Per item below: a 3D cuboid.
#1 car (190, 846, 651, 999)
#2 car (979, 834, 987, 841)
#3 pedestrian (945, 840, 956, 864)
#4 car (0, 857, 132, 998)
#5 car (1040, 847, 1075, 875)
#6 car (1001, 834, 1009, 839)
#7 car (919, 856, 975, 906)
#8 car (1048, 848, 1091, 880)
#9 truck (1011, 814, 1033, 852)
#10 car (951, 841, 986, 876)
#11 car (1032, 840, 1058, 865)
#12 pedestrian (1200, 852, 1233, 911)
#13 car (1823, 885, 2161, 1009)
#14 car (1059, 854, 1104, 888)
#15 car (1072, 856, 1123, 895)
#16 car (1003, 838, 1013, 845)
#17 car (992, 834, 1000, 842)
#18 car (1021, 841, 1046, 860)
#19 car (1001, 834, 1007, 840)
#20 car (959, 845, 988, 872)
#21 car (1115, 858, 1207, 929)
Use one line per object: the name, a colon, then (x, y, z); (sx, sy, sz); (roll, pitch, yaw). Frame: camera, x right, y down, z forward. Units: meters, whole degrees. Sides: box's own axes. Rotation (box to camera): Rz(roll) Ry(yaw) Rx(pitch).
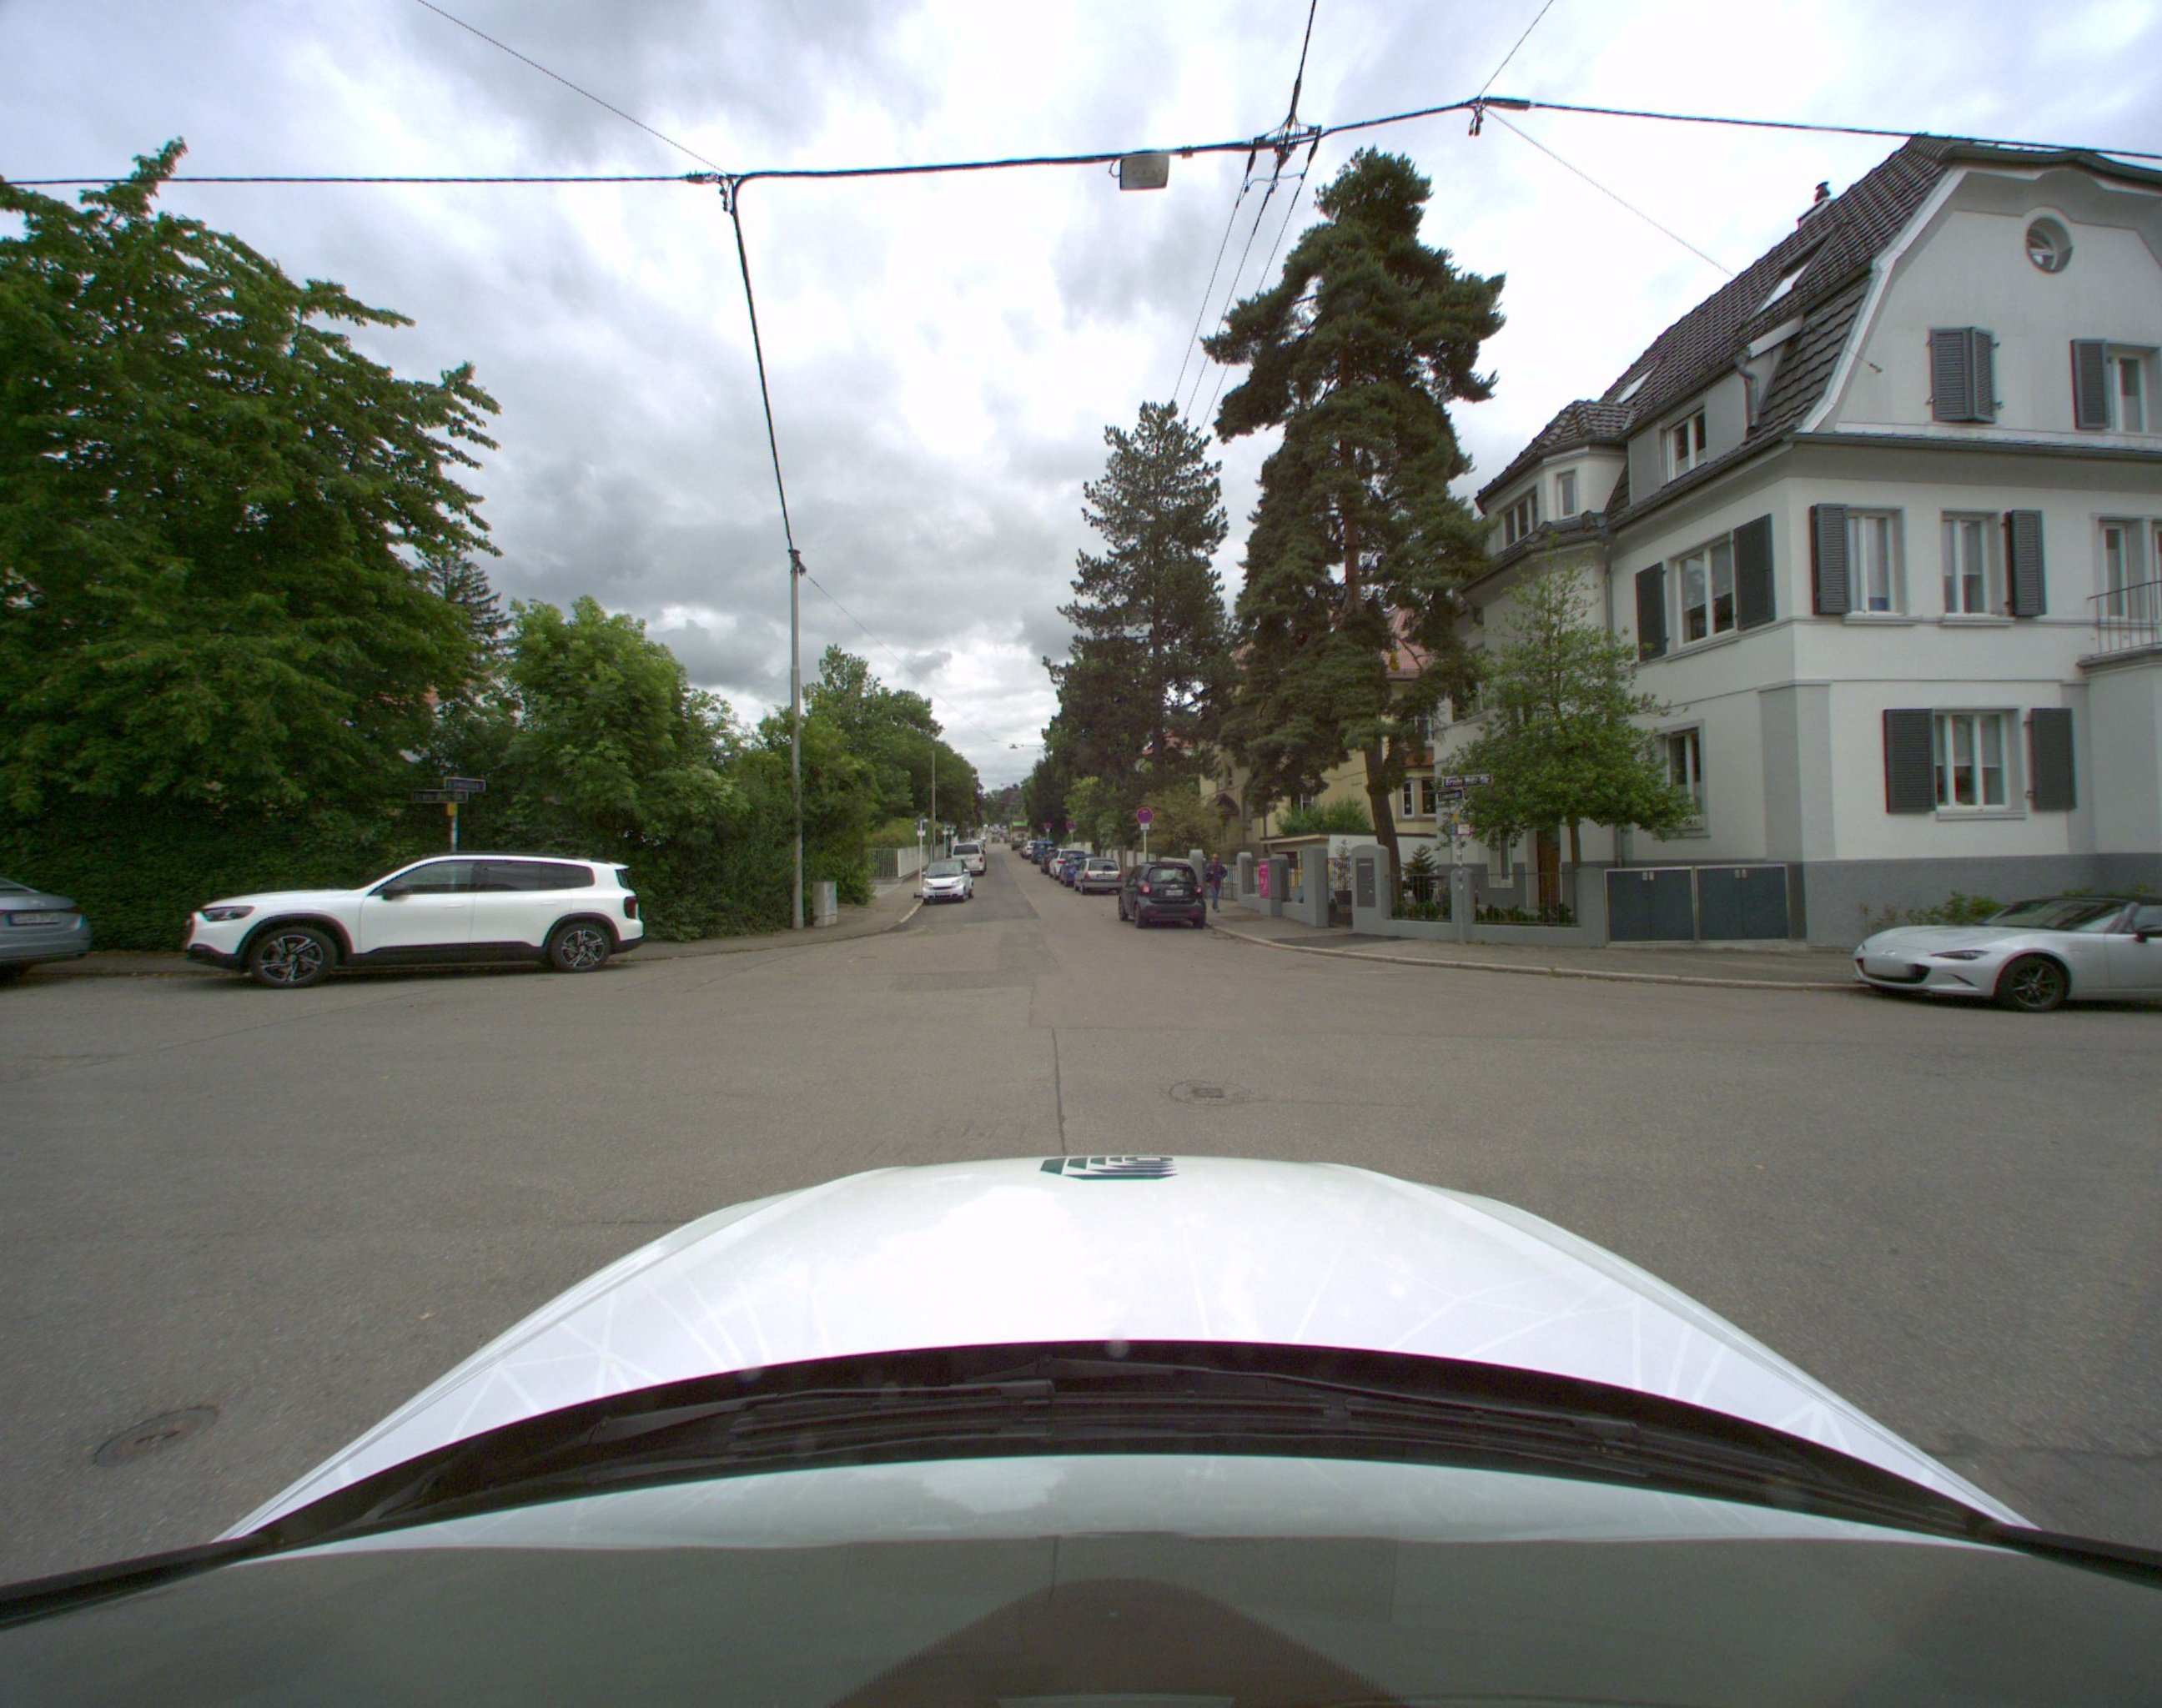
car: (-8.605, 0.794, 11.065); (4.539, 1.655, 1.812); (2, -1, -43)
car: (-23.186, -3.949, 192.799); (1.708, 1.585, 3.995); (-1, 1, -4)
pedestrian: (-11.225, -0.159, 70.093); (0.810, 2.013, 0.858); (-1, 1, -6)
car: (-13.663, 0.698, 8.561); (4.503, 1.437, 1.827); (3, -1, -13)
car: (-1.478, 0.400, 49.384); (1.748, 1.608, 4.066); (1, 1, -7)
car: (-20.278, -4.708, 217.419); (1.809, 1.335, 3.624); (0, 2, -7)
car: (-4.823, 0.944, 29.638); (1.438, 1.552, 2.770); (-4, 1, 0)
car: (-0.674, 0.511, 43.797); (1.784, 1.603, 4.293); (1, 1, -8)
truck: (-7.659, -2.674, 105.088); (2.521, 4.748, 7.173); (0, 1, -6)
car: (-6.721, 0.245, 49.102); (1.852, 1.913, 4.609); (-3, 1, -6)
car: (-2.840, -0.160, 63.833); (1.681, 1.829, 4.147); (1, 2, -7)
pedestrian: (3.763, 0.749, 22.674); (0.679, 1.577, 0.906); (-3, -1, -1)
car: (10.995, 1.009, 9.277); (3.452, 1.262, 1.672); (0, -3, 4)
car: (-0.014, 0.740, 37.387); (1.645, 1.458, 4.043); (0, 0, -6)
car: (0.603, 0.805, 32.400); (1.572, 1.400, 3.648); (0, 1, -6)
car: (-15.626, -2.746, 174.107); (1.777, 1.489, 3.990); (-1, 1, -8)
car: (-18.437, -3.587, 177.421); (1.632, 1.701, 3.486); (-1, 2, -7)
car: (-4.385, -0.358, 74.613); (1.757, 1.605, 4.560); (0, 1, -10)
car: (-21.384, -4.710, 226.155); (1.787, 1.529, 3.728); (-1, 2, -5)
car: (-7.265, 0.294, 54.724); (1.790, 1.623, 4.330); (-2, 2, -9)
car: (1.894, 0.919, 20.052); (1.571, 1.532, 2.859); (1, 1, -9)
